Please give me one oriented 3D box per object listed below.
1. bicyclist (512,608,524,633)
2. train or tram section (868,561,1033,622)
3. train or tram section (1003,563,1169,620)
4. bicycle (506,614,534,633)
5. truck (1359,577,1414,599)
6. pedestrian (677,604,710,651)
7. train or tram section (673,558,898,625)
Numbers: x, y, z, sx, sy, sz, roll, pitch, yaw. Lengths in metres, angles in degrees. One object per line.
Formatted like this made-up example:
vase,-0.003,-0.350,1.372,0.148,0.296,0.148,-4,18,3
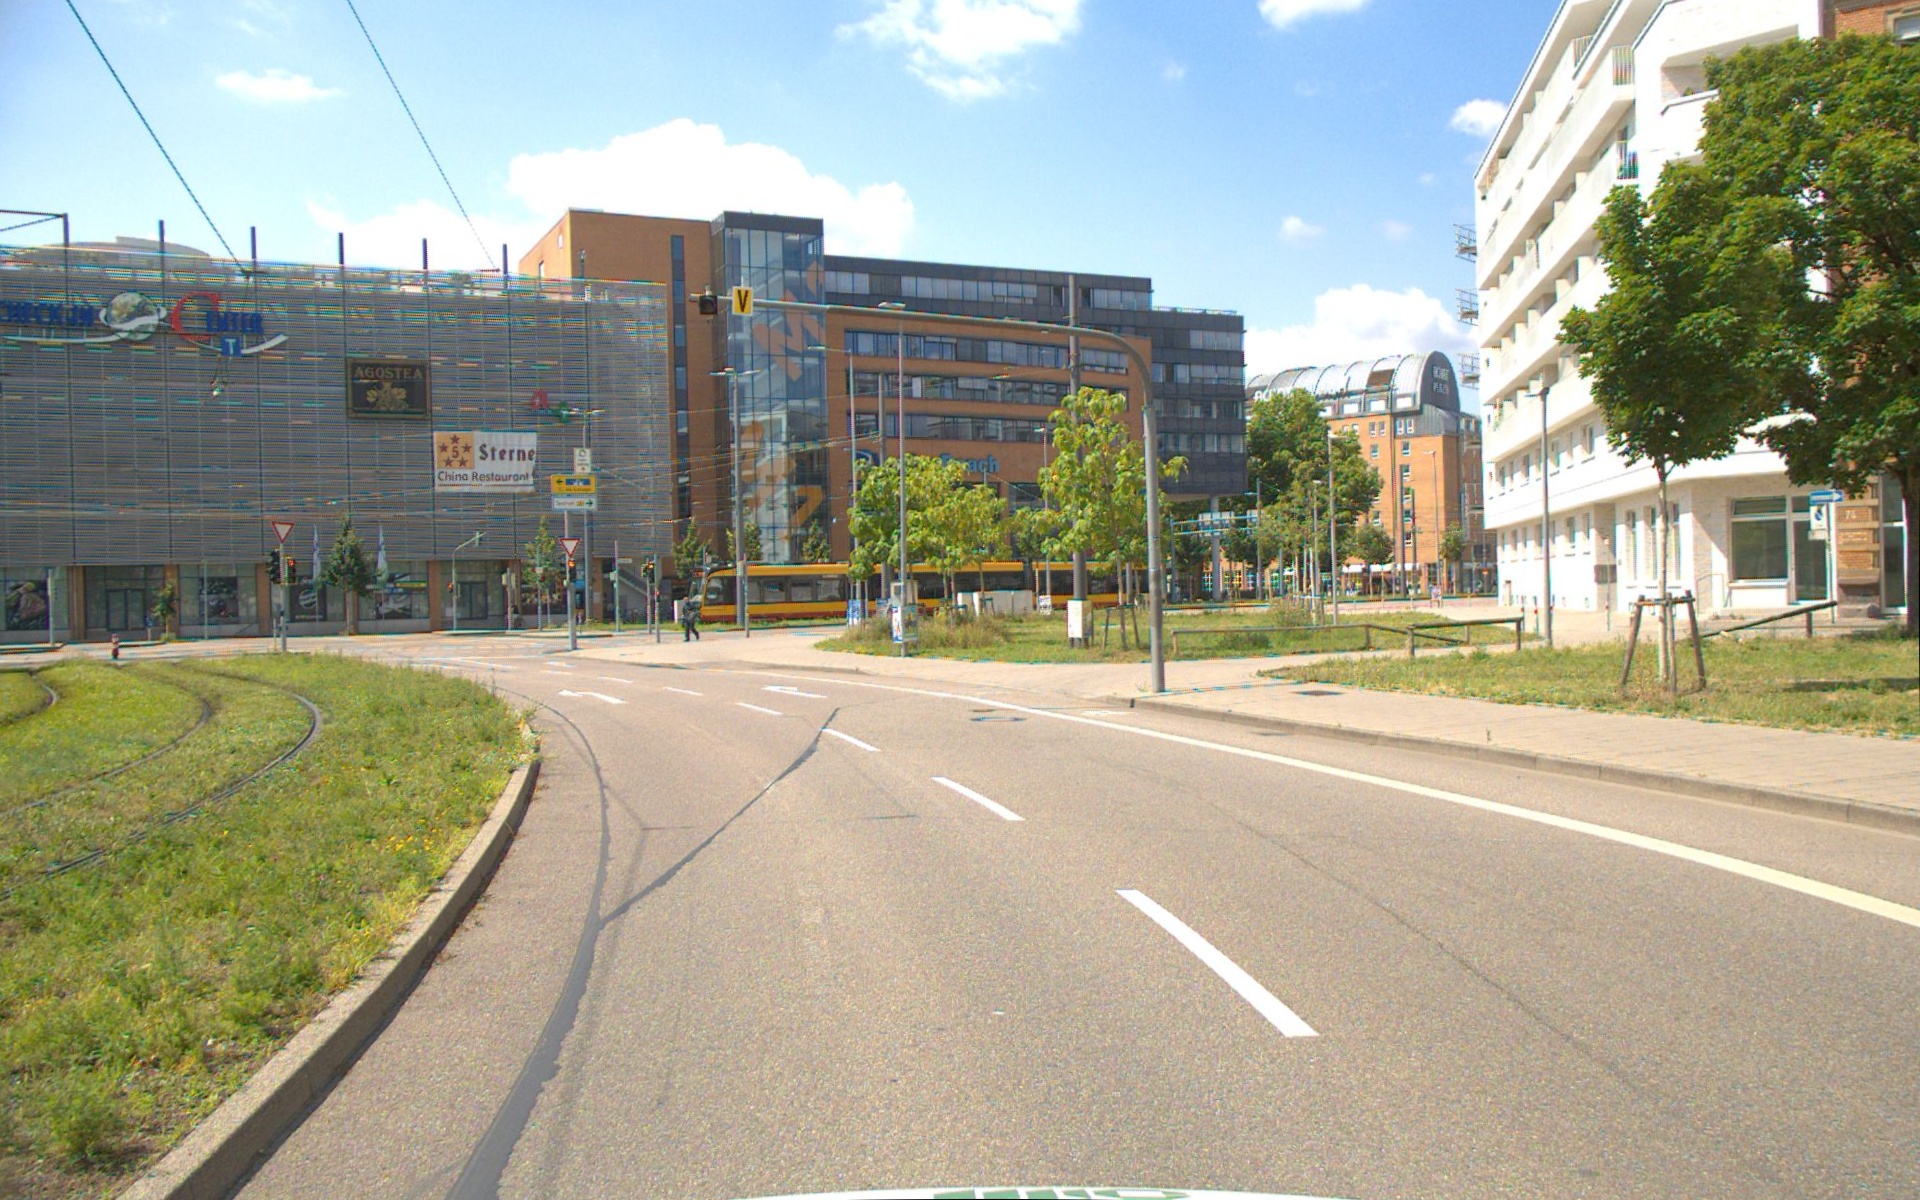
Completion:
bicyclist,-29.008,1.353,108.621,0.654,1.652,0.546,0,-1,-26
train or tram section,-0.491,-0.530,103.453,10.883,3.666,3.022,0,0,-39
train or tram section,8.597,-0.568,110.981,12.511,3.684,3.022,0,0,-39
bicycle,-28.909,1.558,108.666,1.739,1.245,0.579,0,-1,-26
truck,43.077,-1.197,167.167,1.976,2.122,5.459,0,0,-33
pedestrian,-10.258,1.059,63.674,0.900,1.732,0.806,-3,0,35
train or tram section,-9.933,-0.465,95.911,13.358,3.662,3.183,0,0,-38
